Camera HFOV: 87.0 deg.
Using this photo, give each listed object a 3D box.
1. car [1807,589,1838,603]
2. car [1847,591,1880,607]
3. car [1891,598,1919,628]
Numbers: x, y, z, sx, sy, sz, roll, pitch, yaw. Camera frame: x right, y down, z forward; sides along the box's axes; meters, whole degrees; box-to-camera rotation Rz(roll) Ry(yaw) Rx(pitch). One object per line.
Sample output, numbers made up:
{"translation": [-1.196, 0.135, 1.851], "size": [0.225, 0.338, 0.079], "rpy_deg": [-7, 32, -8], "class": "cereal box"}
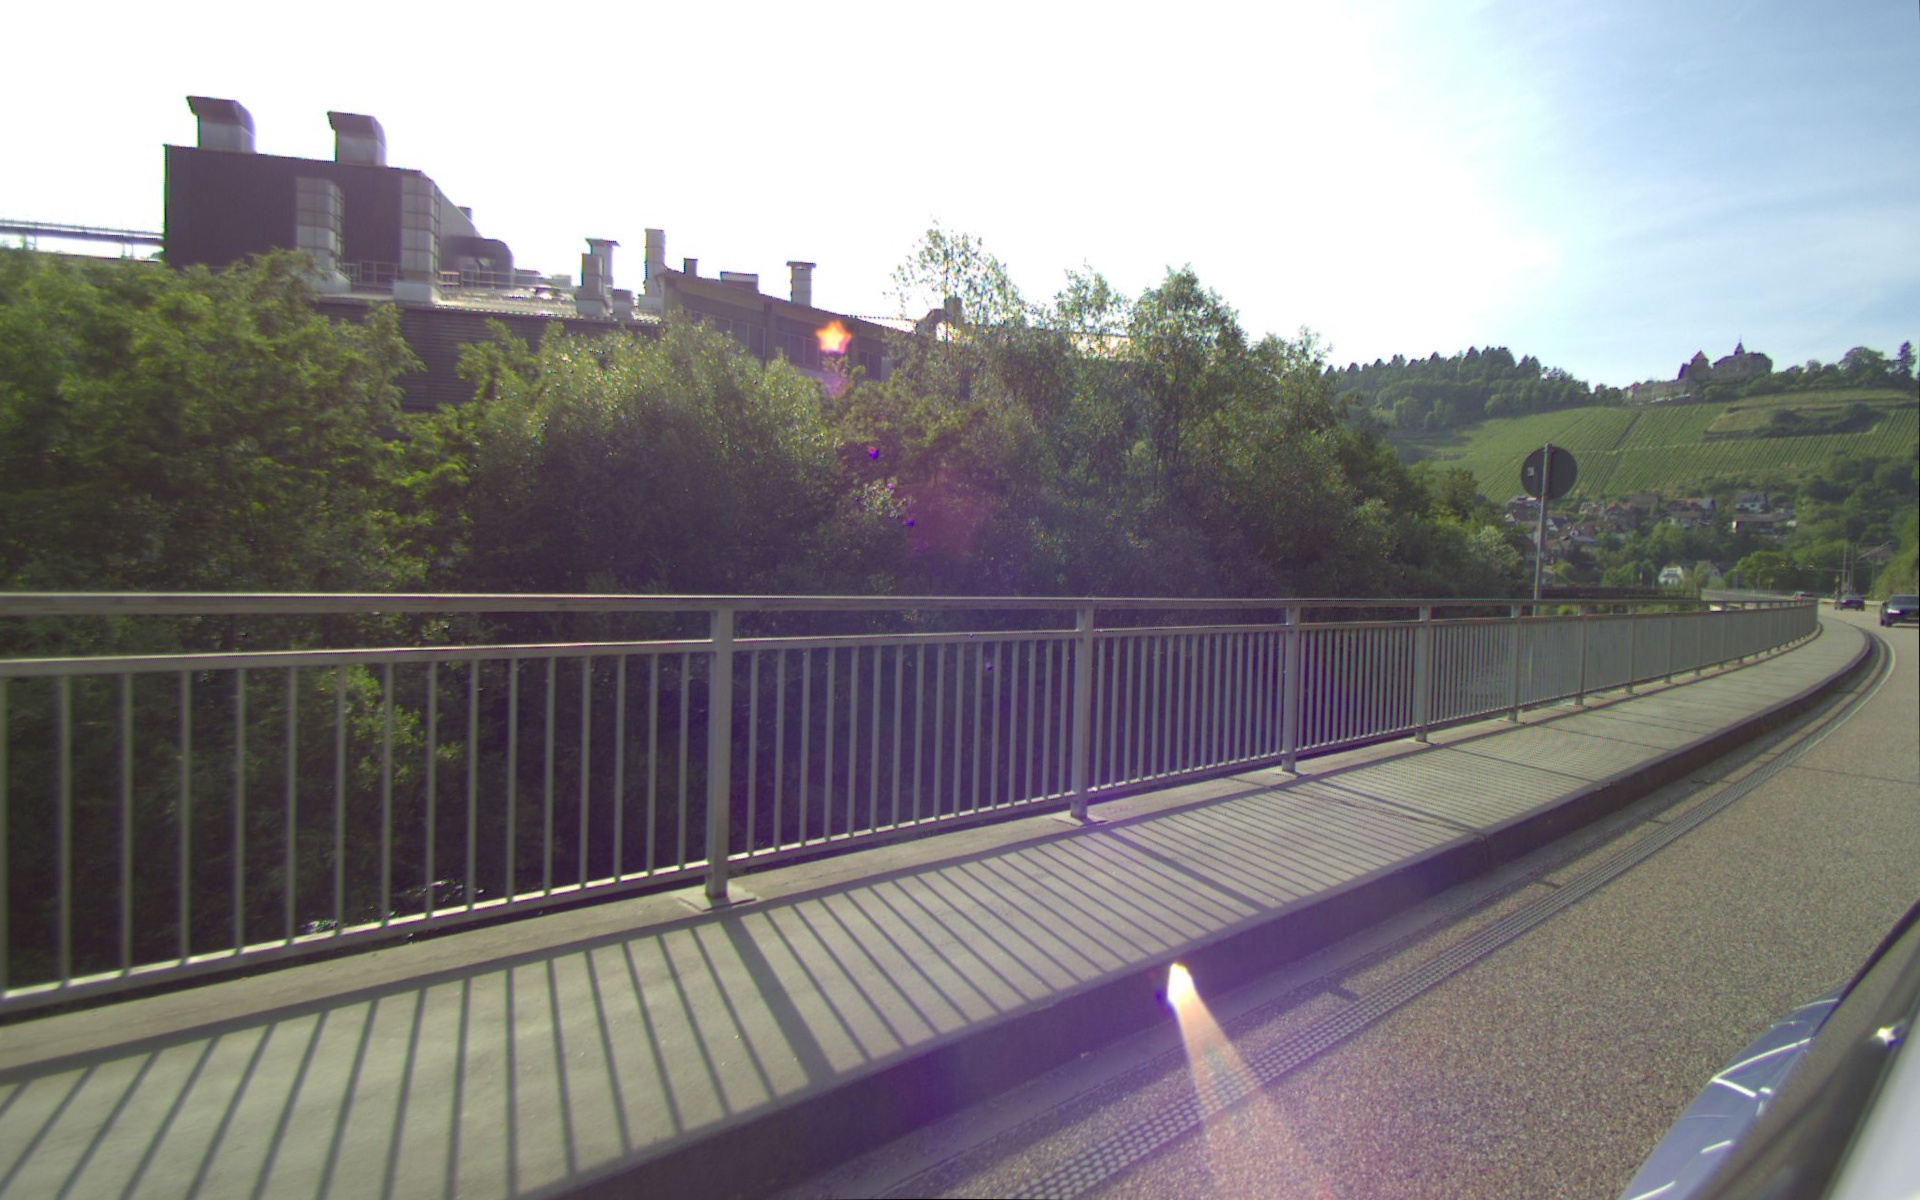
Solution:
{"translation": [100.082, -0.408, 117.514], "size": [1.836, 1.458, 3.859], "rpy_deg": [3, 0, 27], "class": "car"}
{"translation": [85.643, -0.084, 95.979], "size": [1.842, 1.420, 4.417], "rpy_deg": [0, -1, 36], "class": "car"}
{"translation": [48.950, 0.688, 51.579], "size": [1.993, 1.409, 3.941], "rpy_deg": [7, 4, 41], "class": "car"}
